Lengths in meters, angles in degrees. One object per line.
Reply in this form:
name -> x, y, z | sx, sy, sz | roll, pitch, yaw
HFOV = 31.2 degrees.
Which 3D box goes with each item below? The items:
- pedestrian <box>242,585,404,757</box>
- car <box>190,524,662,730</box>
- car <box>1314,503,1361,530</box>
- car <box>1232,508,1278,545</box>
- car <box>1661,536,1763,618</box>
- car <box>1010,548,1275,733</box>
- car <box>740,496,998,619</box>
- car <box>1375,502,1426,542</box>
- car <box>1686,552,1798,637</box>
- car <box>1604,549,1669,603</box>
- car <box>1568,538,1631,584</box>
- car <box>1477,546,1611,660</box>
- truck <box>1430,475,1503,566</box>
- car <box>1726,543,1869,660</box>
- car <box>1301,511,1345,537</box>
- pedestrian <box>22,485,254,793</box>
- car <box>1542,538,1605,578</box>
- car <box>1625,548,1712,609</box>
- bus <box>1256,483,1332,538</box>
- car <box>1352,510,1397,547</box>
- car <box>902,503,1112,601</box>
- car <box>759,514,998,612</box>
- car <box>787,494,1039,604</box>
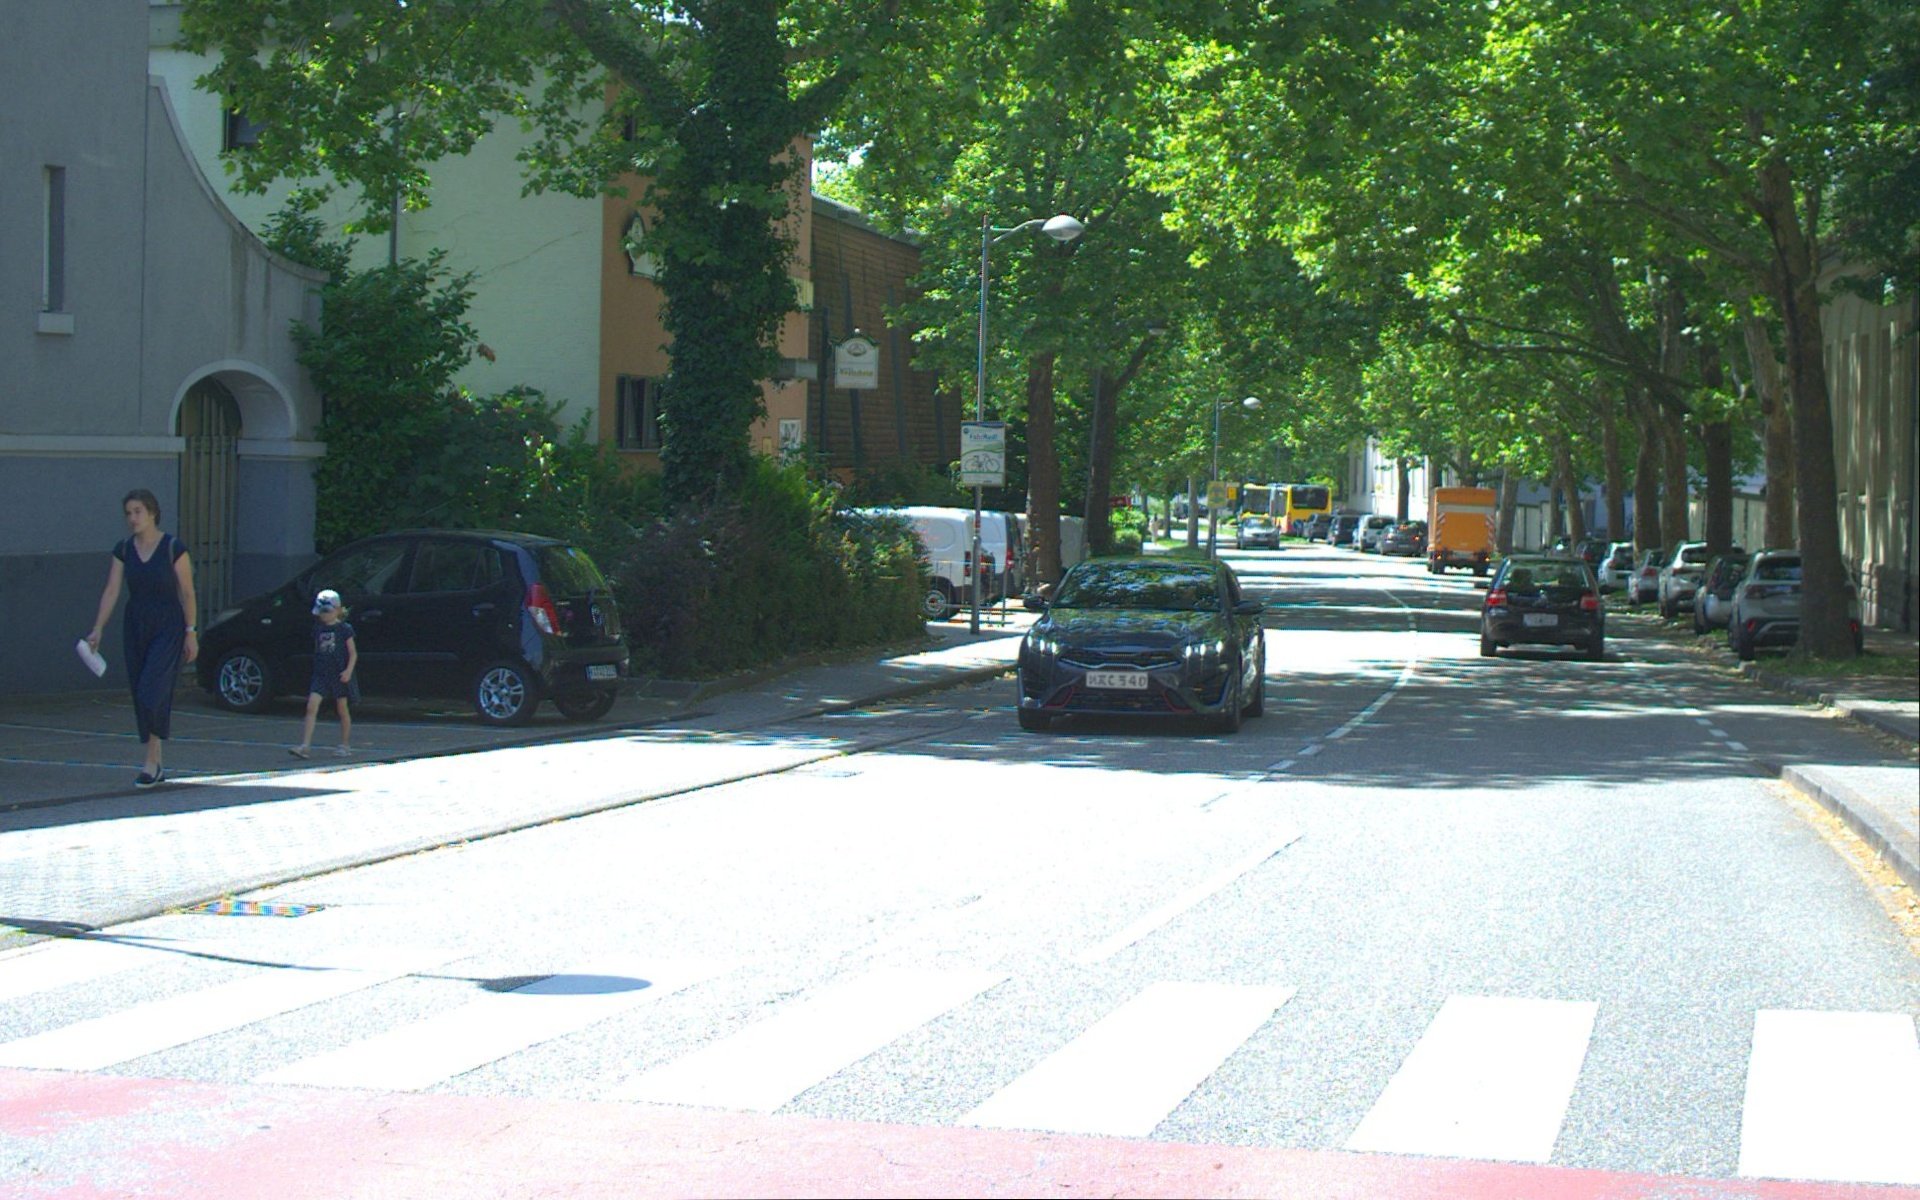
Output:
pedestrian -> -4.321, 0.471, 23.370 | 0.754, 1.118, 0.896 | 1, 1, 15
car -> -4.361, 0.188, 28.181 | 3.385, 1.541, 1.722 | 2, 1, 19
car -> 19.431, -4.301, 177.258 | 1.766, 1.369, 3.730 | 0, 1, -4
car -> 14.028, -3.489, 163.634 | 1.994, 1.660, 3.999 | 2, 0, 4
car -> 15.953, -0.513, 73.139 | 1.808, 1.683, 4.750 | 0, 1, 9
car -> 1.631, 0.286, 29.257 | 1.769, 1.421, 4.391 | 1, 1, 9
car -> -1.482, -0.709, 57.059 | 3.988, 1.786, 1.868 | 3, 1, 6
car -> 20.229, -3.581, 158.025 | 1.879, 1.680, 4.000 | 2, 0, 1
car -> 13.993, -0.131, 61.675 | 1.622, 1.435, 4.431 | 0, 1, 9
car -> 19.295, -0.701, 98.153 | 1.577, 1.461, 3.874 | 0, 1, 7
car -> 20.595, -1.277, 110.888 | 1.767, 1.461, 3.874 | 0, 1, 7
car -> 8.305, 0.005, 49.136 | 1.711, 1.442, 4.057 | 1, 2, 8
truck -> 18.375, -2.847, 124.967 | 2.371, 3.123, 5.767 | 2, 0, 6
car -> 12.185, -0.021, 50.242 | 1.742, 1.552, 4.778 | 0, 2, 10
car -> 19.580, -4.096, 185.793 | 1.766, 1.369, 3.730 | 0, 1, -3
pedestrian -> -4.814, 0.214, 20.195 | 0.872, 1.736, 1.111 | 1, 1, 15
car -> 21.433, -1.474, 120.160 | 1.767, 1.369, 3.729 | 0, 1, 4
car -> 17.249, -0.547, 83.836 | 1.767, 1.428, 3.874 | 0, 1, 7
bus -> 19.749, -5.263, 203.774 | 2.663, 3.139, 11.199 | 1, 1, -4
car -> 19.924, -3.423, 165.223 | 1.879, 1.680, 3.999 | 2, 0, 4
car -> 1.007, -1.013, 71.892 | 4.129, 1.798, 1.903 | 3, 1, 6
car -> -1.436, -0.677, 61.613 | 3.988, 1.510, 1.868 | 3, 1, 6
car -> -0.851, -0.960, 64.239 | 4.424, 1.798, 1.903 | 3, 1, 6
